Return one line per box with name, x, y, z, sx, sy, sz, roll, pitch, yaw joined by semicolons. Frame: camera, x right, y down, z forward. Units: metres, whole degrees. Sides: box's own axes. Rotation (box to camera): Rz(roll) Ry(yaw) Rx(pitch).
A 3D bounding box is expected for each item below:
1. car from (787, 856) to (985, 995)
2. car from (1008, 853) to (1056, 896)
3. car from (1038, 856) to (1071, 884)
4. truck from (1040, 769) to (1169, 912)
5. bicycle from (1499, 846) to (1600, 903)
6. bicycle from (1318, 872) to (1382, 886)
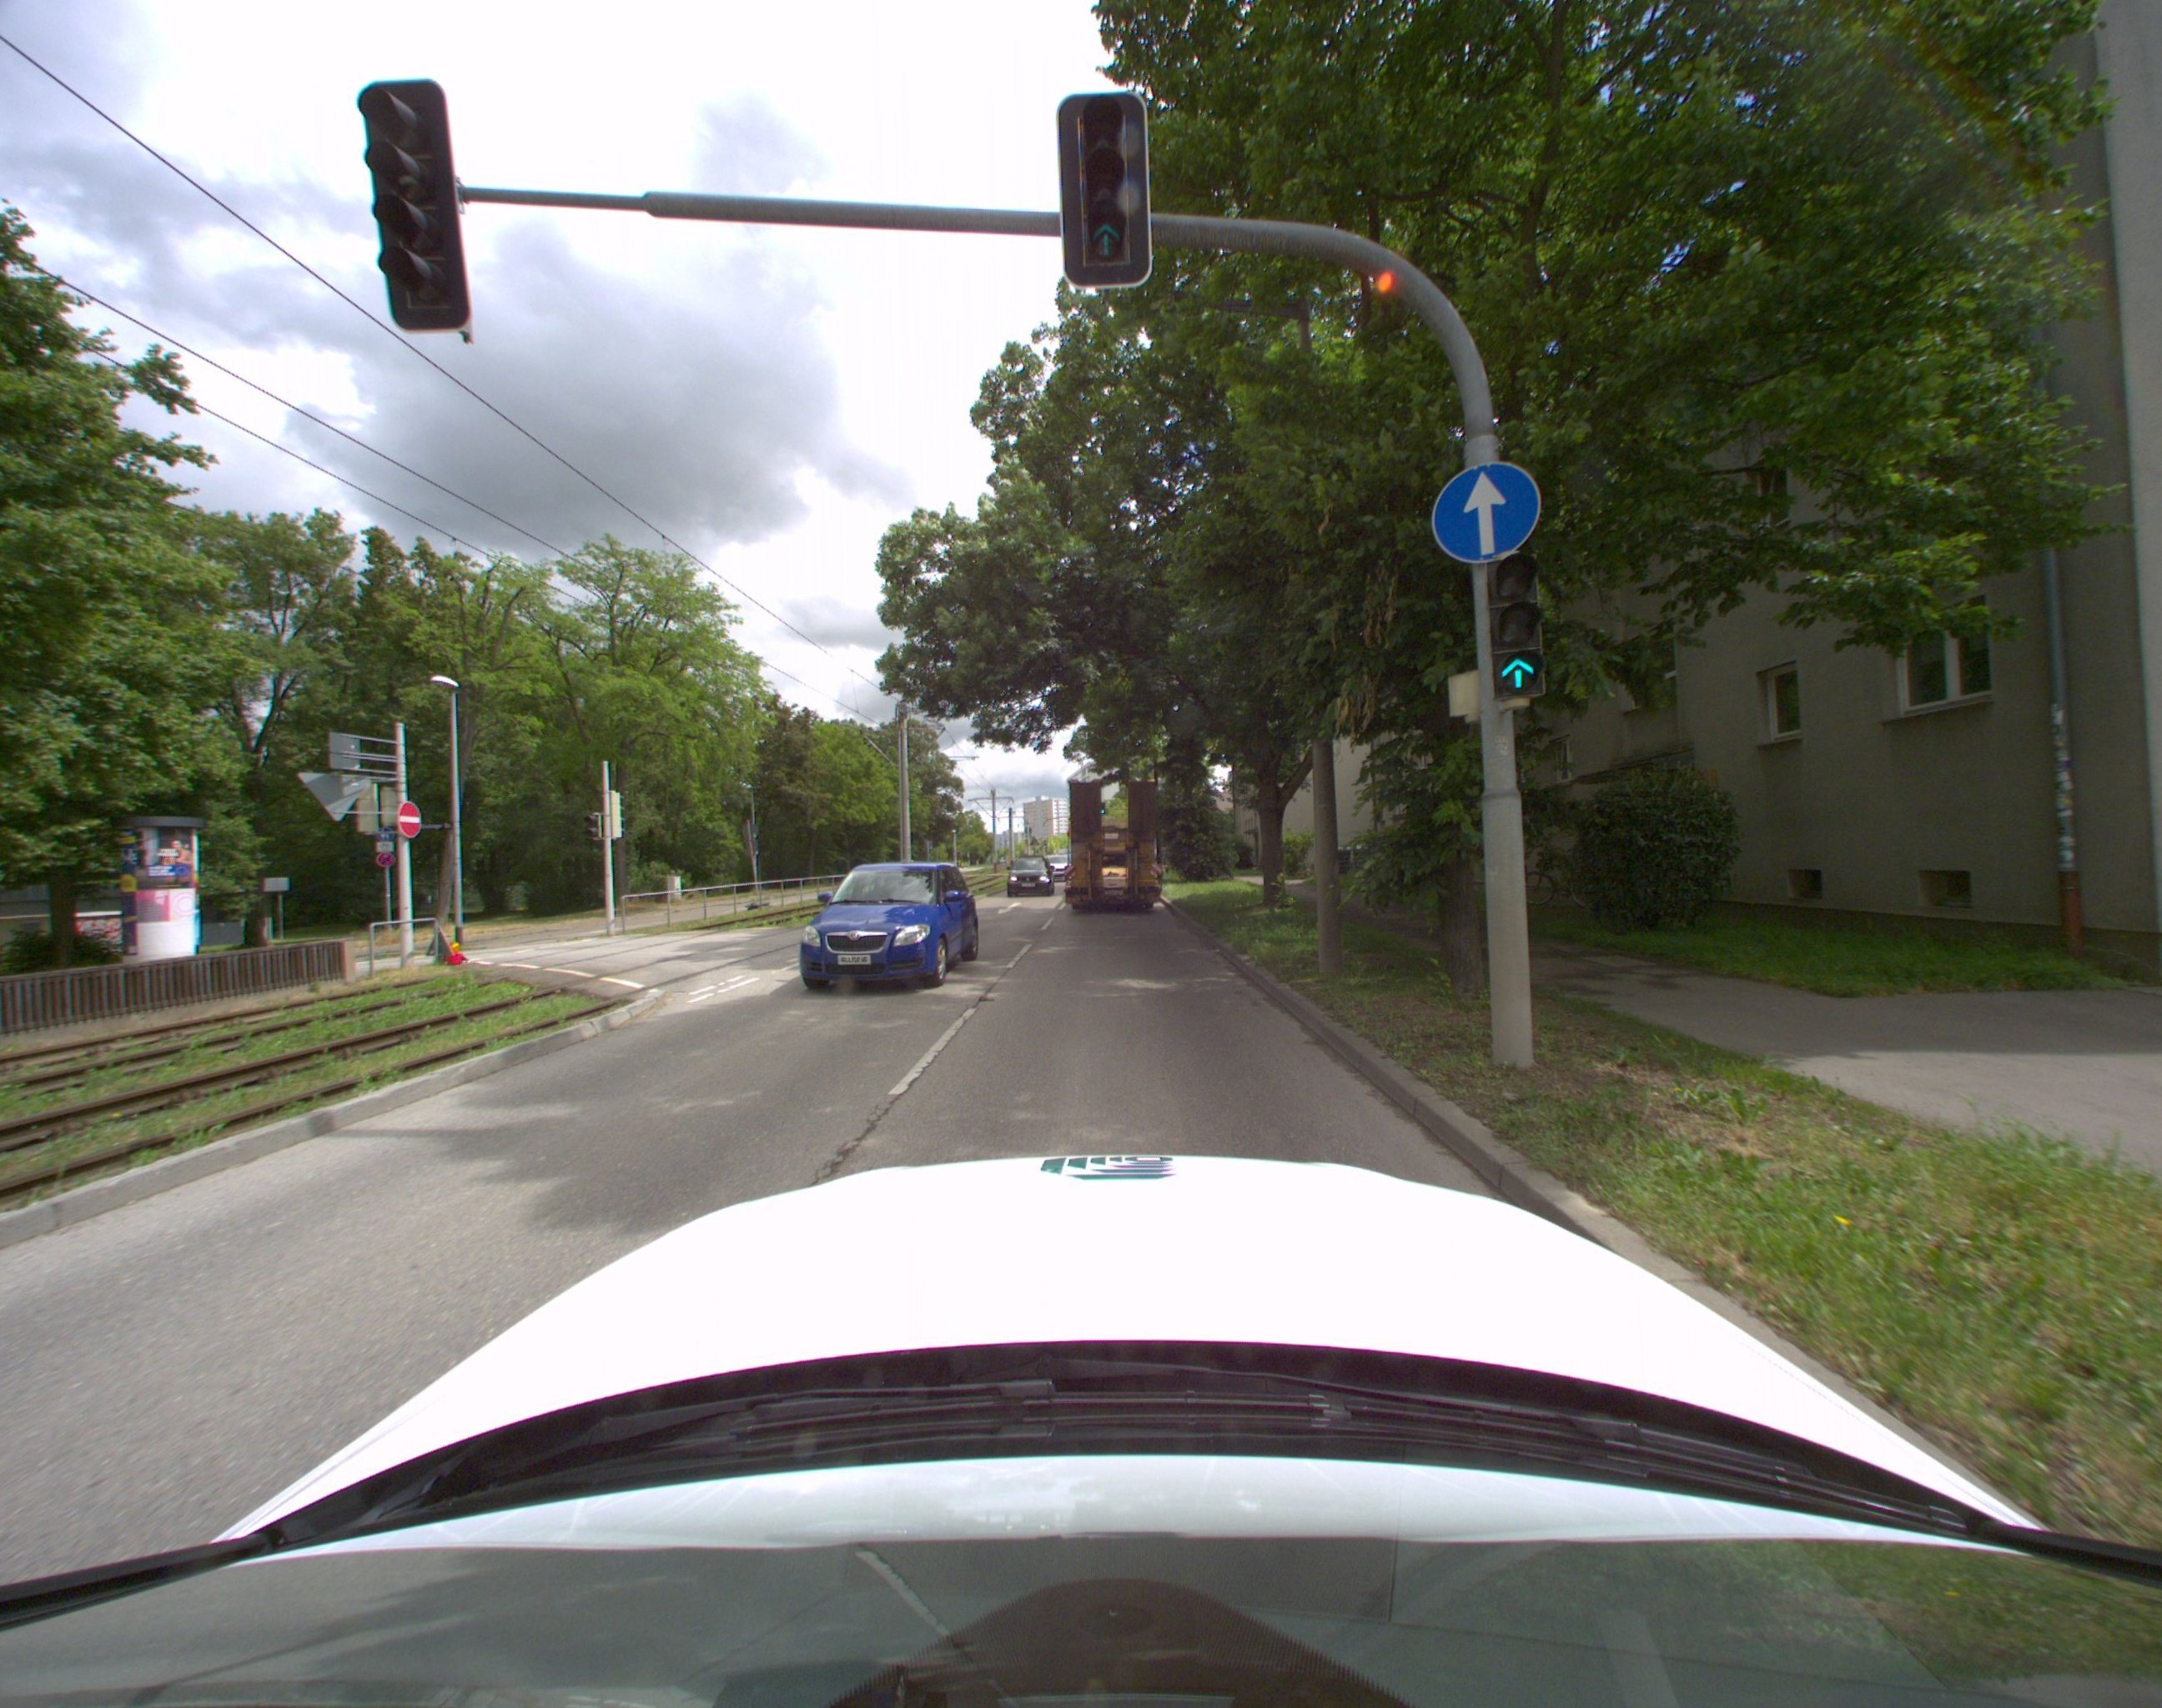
car;-2.367;0.791;10.820;1.575;1.485;3.808;-1;0;2
car;-1.874;0.757;31.831;1.631;1.533;3.275;-1;0;0
car;-1.501;0.901;47.636;1.710;1.544;4.001;-1;1;1
truck;0.652;-0.266;27.517;3.305;3.651;12.560;-1;-1;0
bicycle;9.380;0.406;16.361;0.438;1.080;1.736;0;-1;-33
bicycle;9.912;0.921;30.057;2.190;0.508;0.675;-1;-1;12
